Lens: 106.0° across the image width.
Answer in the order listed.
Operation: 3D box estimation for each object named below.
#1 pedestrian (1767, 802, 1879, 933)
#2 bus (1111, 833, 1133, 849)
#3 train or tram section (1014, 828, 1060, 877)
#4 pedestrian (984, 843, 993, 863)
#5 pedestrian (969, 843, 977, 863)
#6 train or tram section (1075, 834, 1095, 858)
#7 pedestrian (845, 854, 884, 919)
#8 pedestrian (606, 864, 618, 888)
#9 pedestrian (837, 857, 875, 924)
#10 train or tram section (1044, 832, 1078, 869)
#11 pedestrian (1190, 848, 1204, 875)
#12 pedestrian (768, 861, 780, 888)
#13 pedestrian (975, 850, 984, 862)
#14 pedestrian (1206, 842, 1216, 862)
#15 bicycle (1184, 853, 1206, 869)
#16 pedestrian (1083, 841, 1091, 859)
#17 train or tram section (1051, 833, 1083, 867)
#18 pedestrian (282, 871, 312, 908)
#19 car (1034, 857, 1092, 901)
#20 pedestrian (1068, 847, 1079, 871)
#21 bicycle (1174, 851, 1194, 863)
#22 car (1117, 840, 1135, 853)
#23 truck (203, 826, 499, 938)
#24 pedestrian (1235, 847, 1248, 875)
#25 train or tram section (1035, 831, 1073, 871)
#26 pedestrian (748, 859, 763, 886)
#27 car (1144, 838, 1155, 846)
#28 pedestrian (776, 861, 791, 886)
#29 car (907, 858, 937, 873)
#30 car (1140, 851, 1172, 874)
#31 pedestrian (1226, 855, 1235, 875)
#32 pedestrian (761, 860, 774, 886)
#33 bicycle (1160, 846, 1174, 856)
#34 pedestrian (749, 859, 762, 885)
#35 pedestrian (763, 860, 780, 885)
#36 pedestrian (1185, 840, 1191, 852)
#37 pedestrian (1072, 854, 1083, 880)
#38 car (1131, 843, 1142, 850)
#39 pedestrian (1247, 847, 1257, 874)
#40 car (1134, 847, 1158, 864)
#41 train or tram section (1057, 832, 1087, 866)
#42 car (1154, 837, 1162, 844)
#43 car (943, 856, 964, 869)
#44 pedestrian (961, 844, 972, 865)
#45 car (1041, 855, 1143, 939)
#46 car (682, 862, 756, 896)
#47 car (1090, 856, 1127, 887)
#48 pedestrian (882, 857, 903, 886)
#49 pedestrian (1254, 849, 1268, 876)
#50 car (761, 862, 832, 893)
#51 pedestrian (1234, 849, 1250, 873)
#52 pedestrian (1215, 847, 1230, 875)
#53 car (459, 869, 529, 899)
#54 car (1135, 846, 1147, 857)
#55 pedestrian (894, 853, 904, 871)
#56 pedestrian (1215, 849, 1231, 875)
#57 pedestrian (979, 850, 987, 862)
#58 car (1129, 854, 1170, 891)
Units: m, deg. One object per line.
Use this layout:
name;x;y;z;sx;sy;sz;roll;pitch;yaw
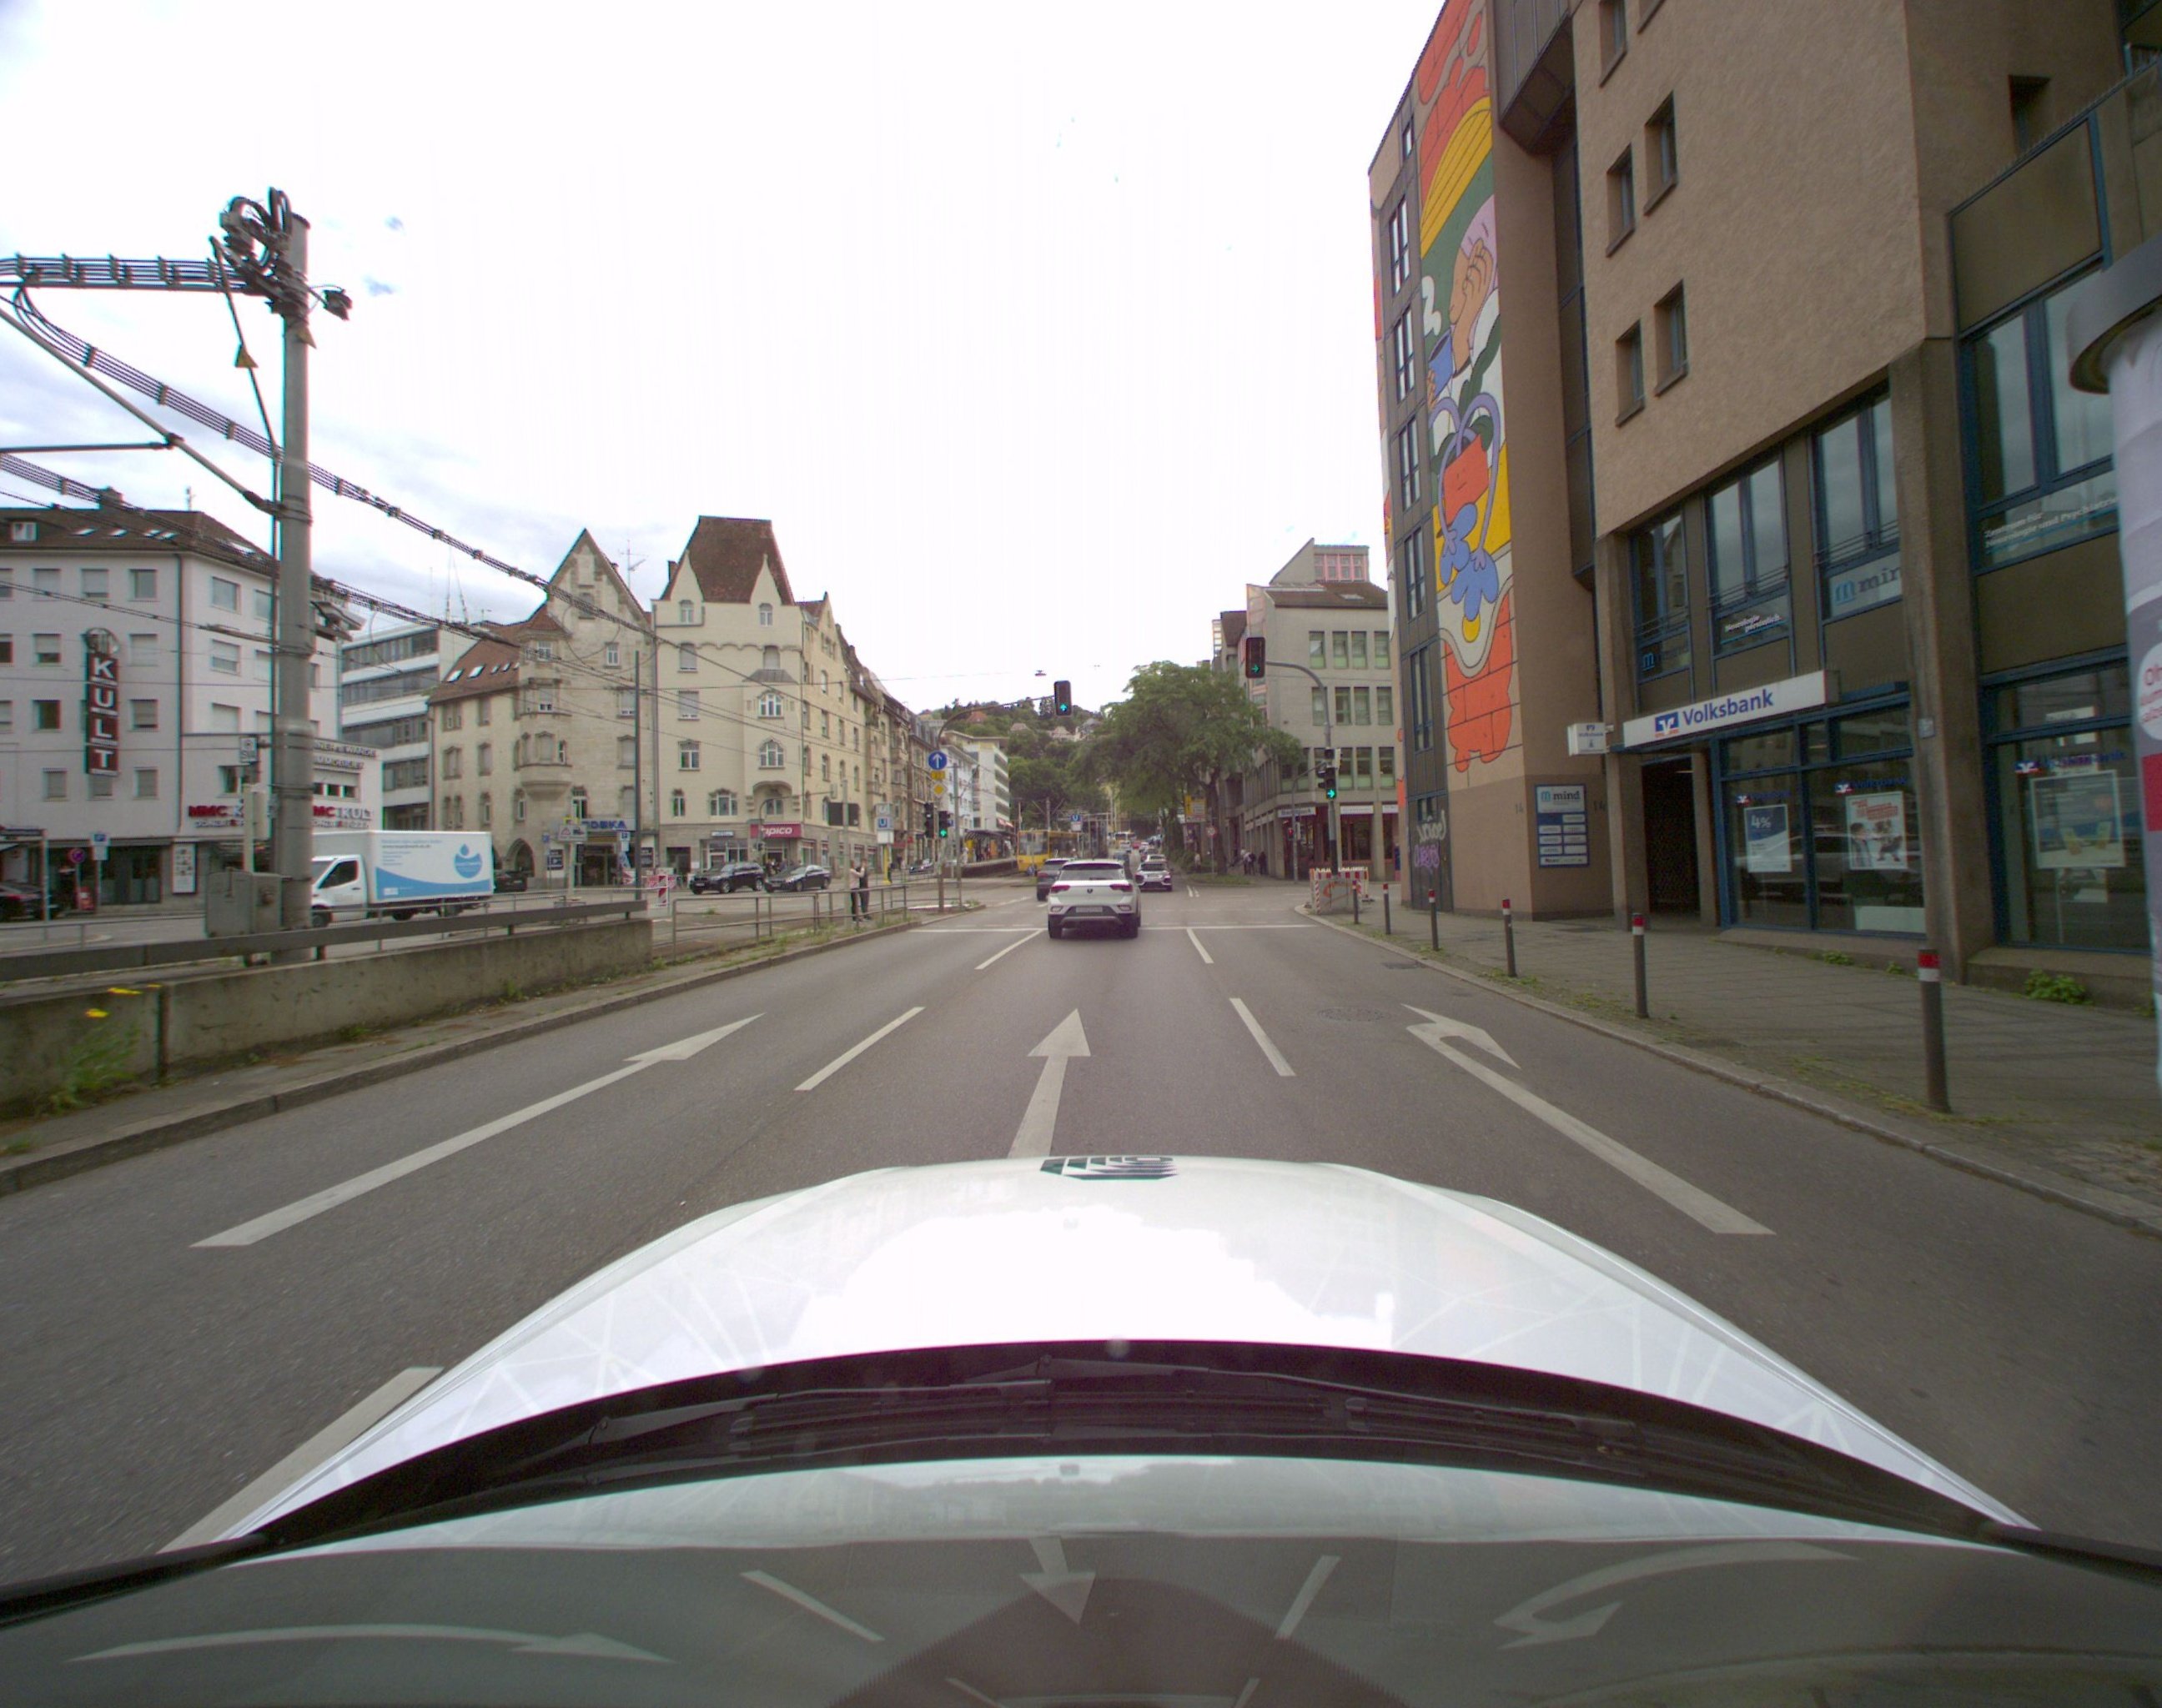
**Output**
pedestrian;10.185;0.184;11.209;0.767;1.721;0.794;-1;0;1
bus;8.288;-2.545;164.113;3.353;3.065;13.353;-1;0;8
train or tram section;-3.416;-0.173;64.303;2.822;3.678;5.759;0;0;5
pedestrian;-8.296;-0.114;73.102;0.624;1.762;0.848;-1;0;5
pedestrian;-9.412;-0.066;70.968;0.634;1.711;0.689;-2;0;-5
train or tram section;0.666;-1.269;127.123;2.801;3.666;6.757;-1;0;3
pedestrian;-5.916;0.868;22.287;0.788;1.721;0.773;-1;0;3
pedestrian;-34.096;1.597;59.169;0.575;1.780;0.510;-1;0;-10
pedestrian;-5.967;0.963;21.582;0.761;1.721;0.638;-1;0;3
train or tram section;-1.952;-0.383;81.569;2.822;3.520;5.759;0;0;5
pedestrian;7.891;0.526;55.466;0.691;1.777;0.689;-6;0;0
pedestrian;-20.620;1.360;54.695;0.506;1.780;0.579;-2;0;18
pedestrian;-9.230;0.191;73.795;0.632;1.107;0.691;-1;0;4
pedestrian;12.408;-0.207;77.615;0.760;1.782;0.848;-3;2;-1
bicycle;9.252;0.528;66.015;1.704;1.184;0.448;-4;0;-4
pedestrian;0.608;-0.419;78.391;0.714;1.731;0.672;-1;-1;5
train or tram section;-1.468;-0.444;87.317;2.822;3.520;5.759;0;0;5
pedestrian;-37.642;1.694;39.099;0.777;1.705;0.655;-1;0;10
car;-0.654;0.953;32.794;1.985;1.636;4.004;-1;-1;3
pedestrian;-0.547;0.381;59.057;0.682;1.711;0.712;-1;0;4
bicycle;10.439;0.288;82.509;1.909;1.076;0.613;-4;0;1
car;7.150;-1.133;128.081;2.352;2.014;5.159;-1;0;7
truck;-22.845;0.798;26.209;2.254;3.076;7.388;-1;0;7
pedestrian;10.668;0.469;54.141;0.731;1.874;0.733;-1;-1;0
train or tram section;-2.459;-0.310;75.801;2.822;3.520;5.759;0;0;5
pedestrian;-21.595;1.240;54.028;0.703;1.780;0.599;-2;0;20
car;14.807;-2.515;175.879;1.873;1.684;4.173;-1;0;11
pedestrian;-20.582;1.326;56.389;0.667;1.677;0.695;-2;0;22
car;-15.488;1.118;79.559;1.622;1.375;3.792;-3;0;8
car;5.637;0.636;61.792;1.880;1.684;4.157;0;0;-2
pedestrian;9.753;0.711;53.120;0.469;1.333;0.519;0;-1;0
pedestrian;-21.497;1.281;55.878;0.505;1.780;0.580;-2;-1;35
bicycle;12.000;-0.401;113.261;1.867;1.266;0.767;-1;-1;15
pedestrian;-22.305;1.239;55.834;0.505;1.780;0.580;-2;-1;35
pedestrian;-21.325;1.278;56.145;0.777;1.705;0.725;-1;0;10
pedestrian;15.118;-1.105;115.496;0.637;1.615;0.584;0;-1;-16
pedestrian;-0.250;0.858;54.817;0.632;1.711;0.872;-1;0;4
car;10.575;-1.393;154.826;1.571;1.172;3.690;-1;0;12
pedestrian;11.178;0.434;53.276;0.517;1.789;0.764;0;-1;0
car;7.708;0.182;97.254;2.358;2.014;5.146;0;0;-1
train or tram section;-0.978;-0.583;93.144;2.800;3.666;5.910;0;0;5
car;18.303;-3.121;193.329;1.666;1.561;3.682;-1;0;4
car;-14.849;0.968;95.121;1.551;1.523;3.606;-1;0;6
pedestrian;-9.409;0.047;66.796;0.685;1.711;0.662;-1;0;3
car;0.357;0.857;17.465;1.828;1.584;4.162;-1;-1;5
car;-19.957;1.355;45.155;1.666;1.759;4.788;-1;0;4
car;1.705;1.036;49.076;1.902;1.689;4.008;0;1;6
pedestrian;-11.268;1.061;48.587;0.866;1.705;0.817;-2;0;33
pedestrian;11.446;0.533;51.778;0.756;1.612;0.621;-3;2;15
car;-15.664;1.268;45.104;1.647;1.552;4.547;-2;0;9
pedestrian;10.527;0.447;53.256;0.833;1.563;0.764;0;-1;0
pedestrian;9.404;0.463;54.113;0.719;1.802;0.834;-4;2;0
car;-37.582;1.891;52.149;3.740;1.684;1.645;-3;-1;18
car;9.726;-0.438;130.799;1.876;1.684;4.166;-1;0;4
pedestrian;-18.817;0.824;84.073;0.632;1.762;0.837;-1;-1;-38
pedestrian;9.632;0.551;55.205;0.833;1.704;0.764;-3;0;0
pedestrian;-9.084;0.160;75.427;0.632;1.107;0.691;-1;0;4
car;3.278;0.876;39.274;1.876;1.684;4.165;-1;0;4
